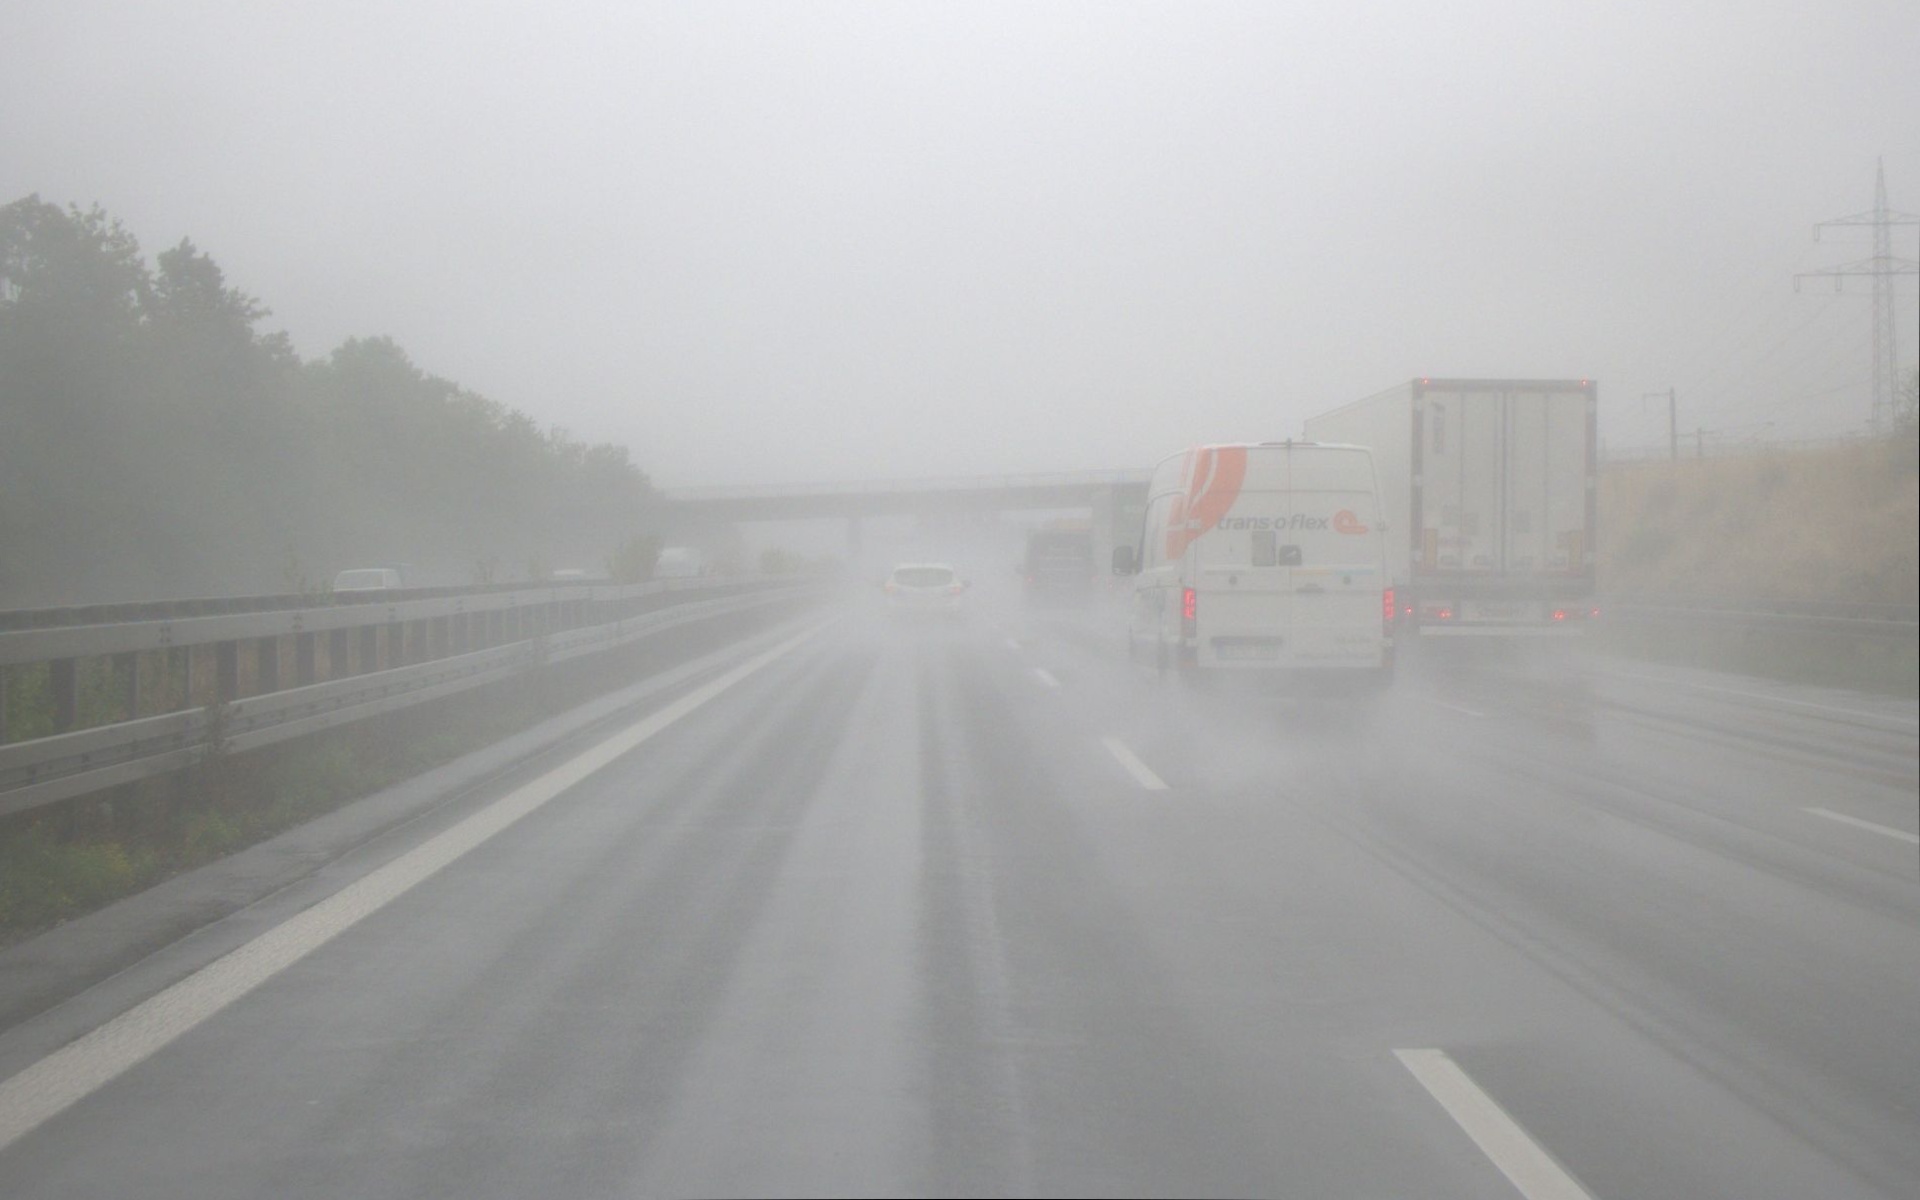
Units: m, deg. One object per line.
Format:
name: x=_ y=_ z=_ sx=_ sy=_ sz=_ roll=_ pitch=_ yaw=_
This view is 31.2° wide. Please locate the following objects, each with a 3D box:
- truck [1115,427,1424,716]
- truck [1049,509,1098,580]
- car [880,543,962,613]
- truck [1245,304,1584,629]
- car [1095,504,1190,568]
truck: x=2.821 y=-0.332 z=32.750 sx=2.419 sy=2.484 sz=5.560 roll=1 pitch=2 yaw=0
truck: x=5.731 y=-2.830 z=174.556 sx=2.109 sy=3.504 sz=5.248 roll=1 pitch=2 yaw=-2
car: x=-0.798 y=-0.468 z=70.518 sx=1.605 sy=1.333 sz=3.849 roll=1 pitch=2 yaw=-1
truck: x=7.135 y=-2.017 z=56.984 sx=3.039 sy=4.572 sz=16.352 roll=1 pitch=1 yaw=-1
car: x=5.993 y=-2.132 z=113.765 sx=2.788 sy=2.006 sz=4.993 roll=1 pitch=2 yaw=-1
